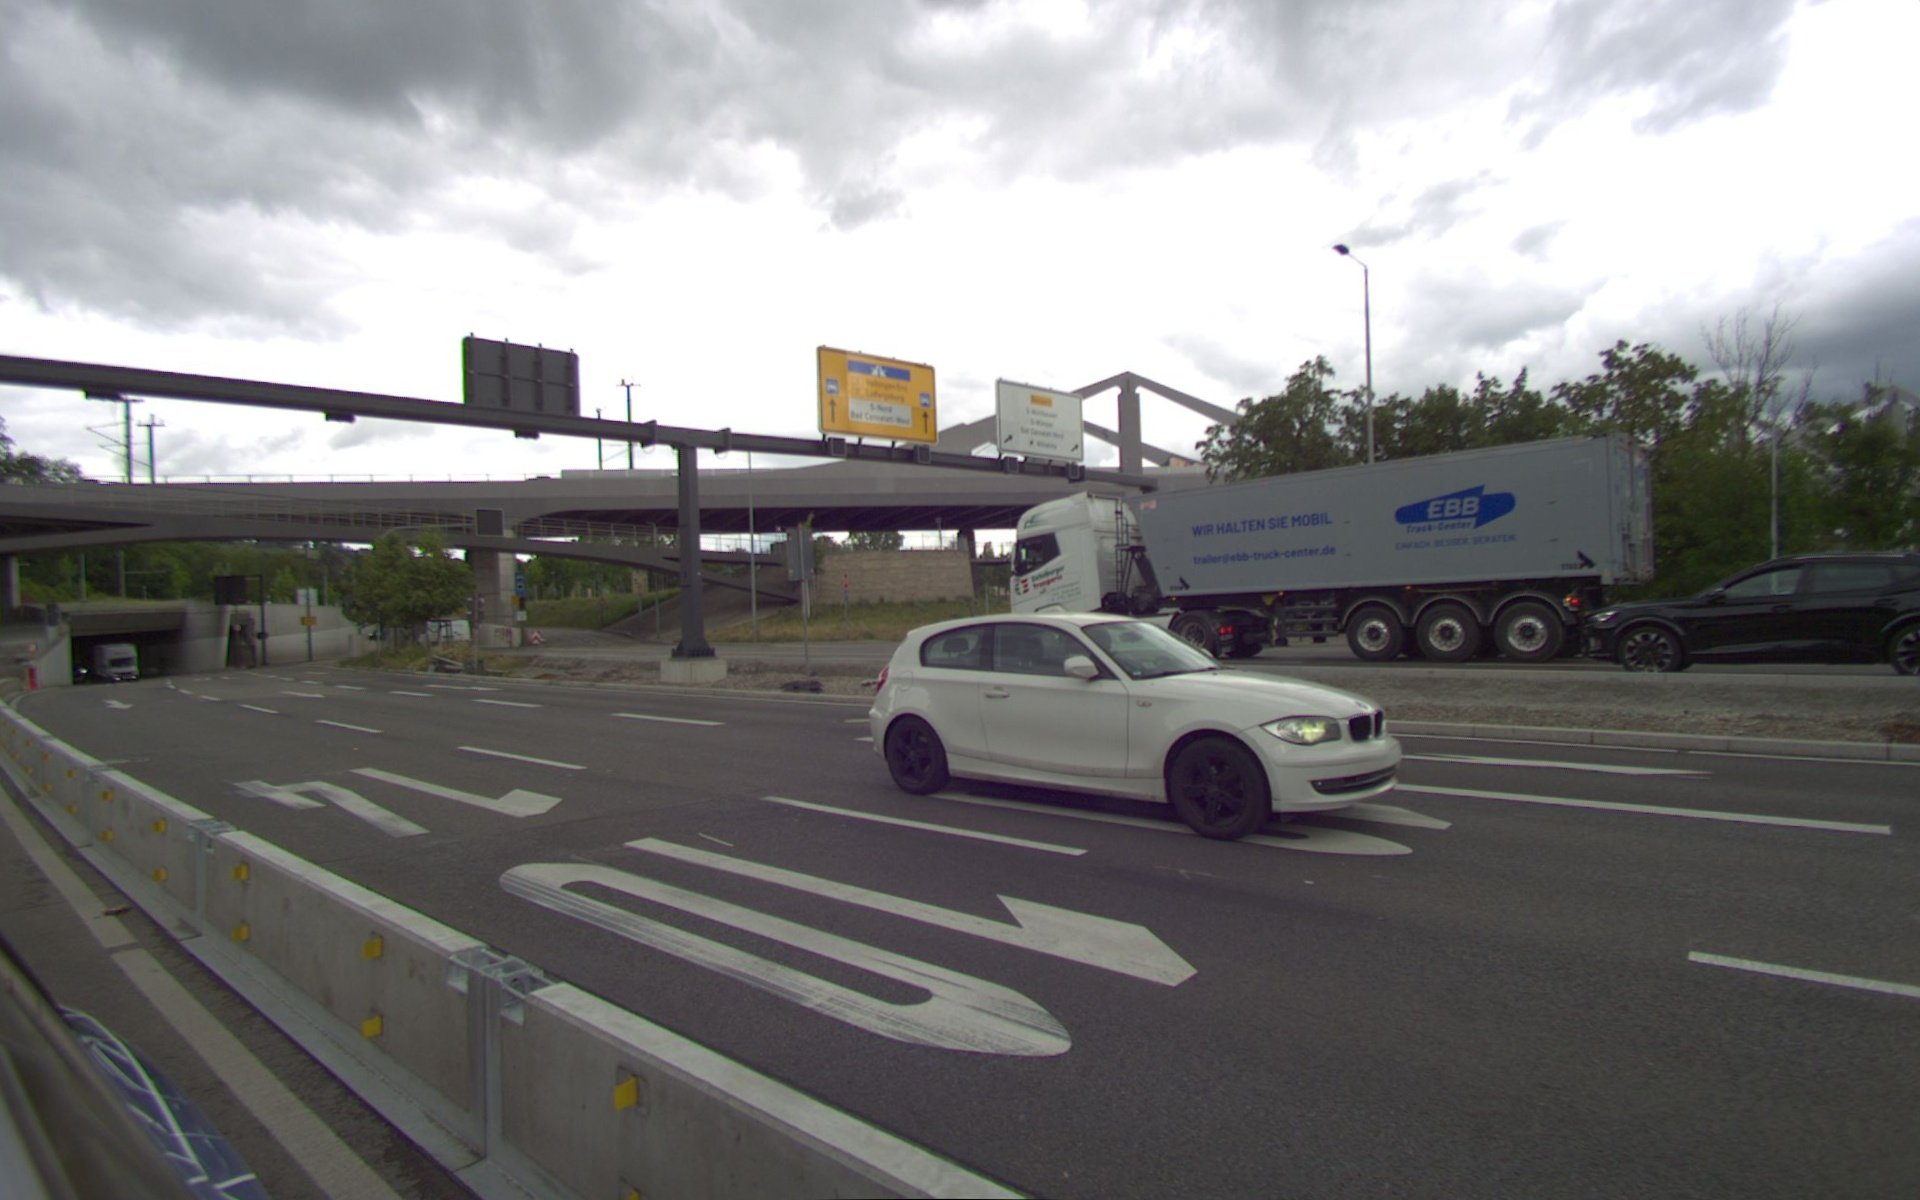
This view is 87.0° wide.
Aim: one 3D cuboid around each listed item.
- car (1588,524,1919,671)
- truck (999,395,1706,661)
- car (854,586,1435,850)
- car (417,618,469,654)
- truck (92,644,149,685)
[{"bbox_3d":[10.569,0.028,12.564,4.452,1.633,1.687,-3,-4,43],"label":"car"},{"bbox_3d":[7.059,-0.861,21.723,13.992,4.092,2.866,-4,-2,44],"label":"truck"},{"bbox_3d":[1.161,0.700,7.548,3.981,1.444,1.621,-2,0,42],"label":"car"},{"bbox_3d":[-29.039,2.027,56.794,1.802,1.821,3.807,-2,-3,-39],"label":"car"},{"bbox_3d":[-72.568,5.504,87.418,8.121,3.150,2.712,-3,1,44],"label":"truck"}]
